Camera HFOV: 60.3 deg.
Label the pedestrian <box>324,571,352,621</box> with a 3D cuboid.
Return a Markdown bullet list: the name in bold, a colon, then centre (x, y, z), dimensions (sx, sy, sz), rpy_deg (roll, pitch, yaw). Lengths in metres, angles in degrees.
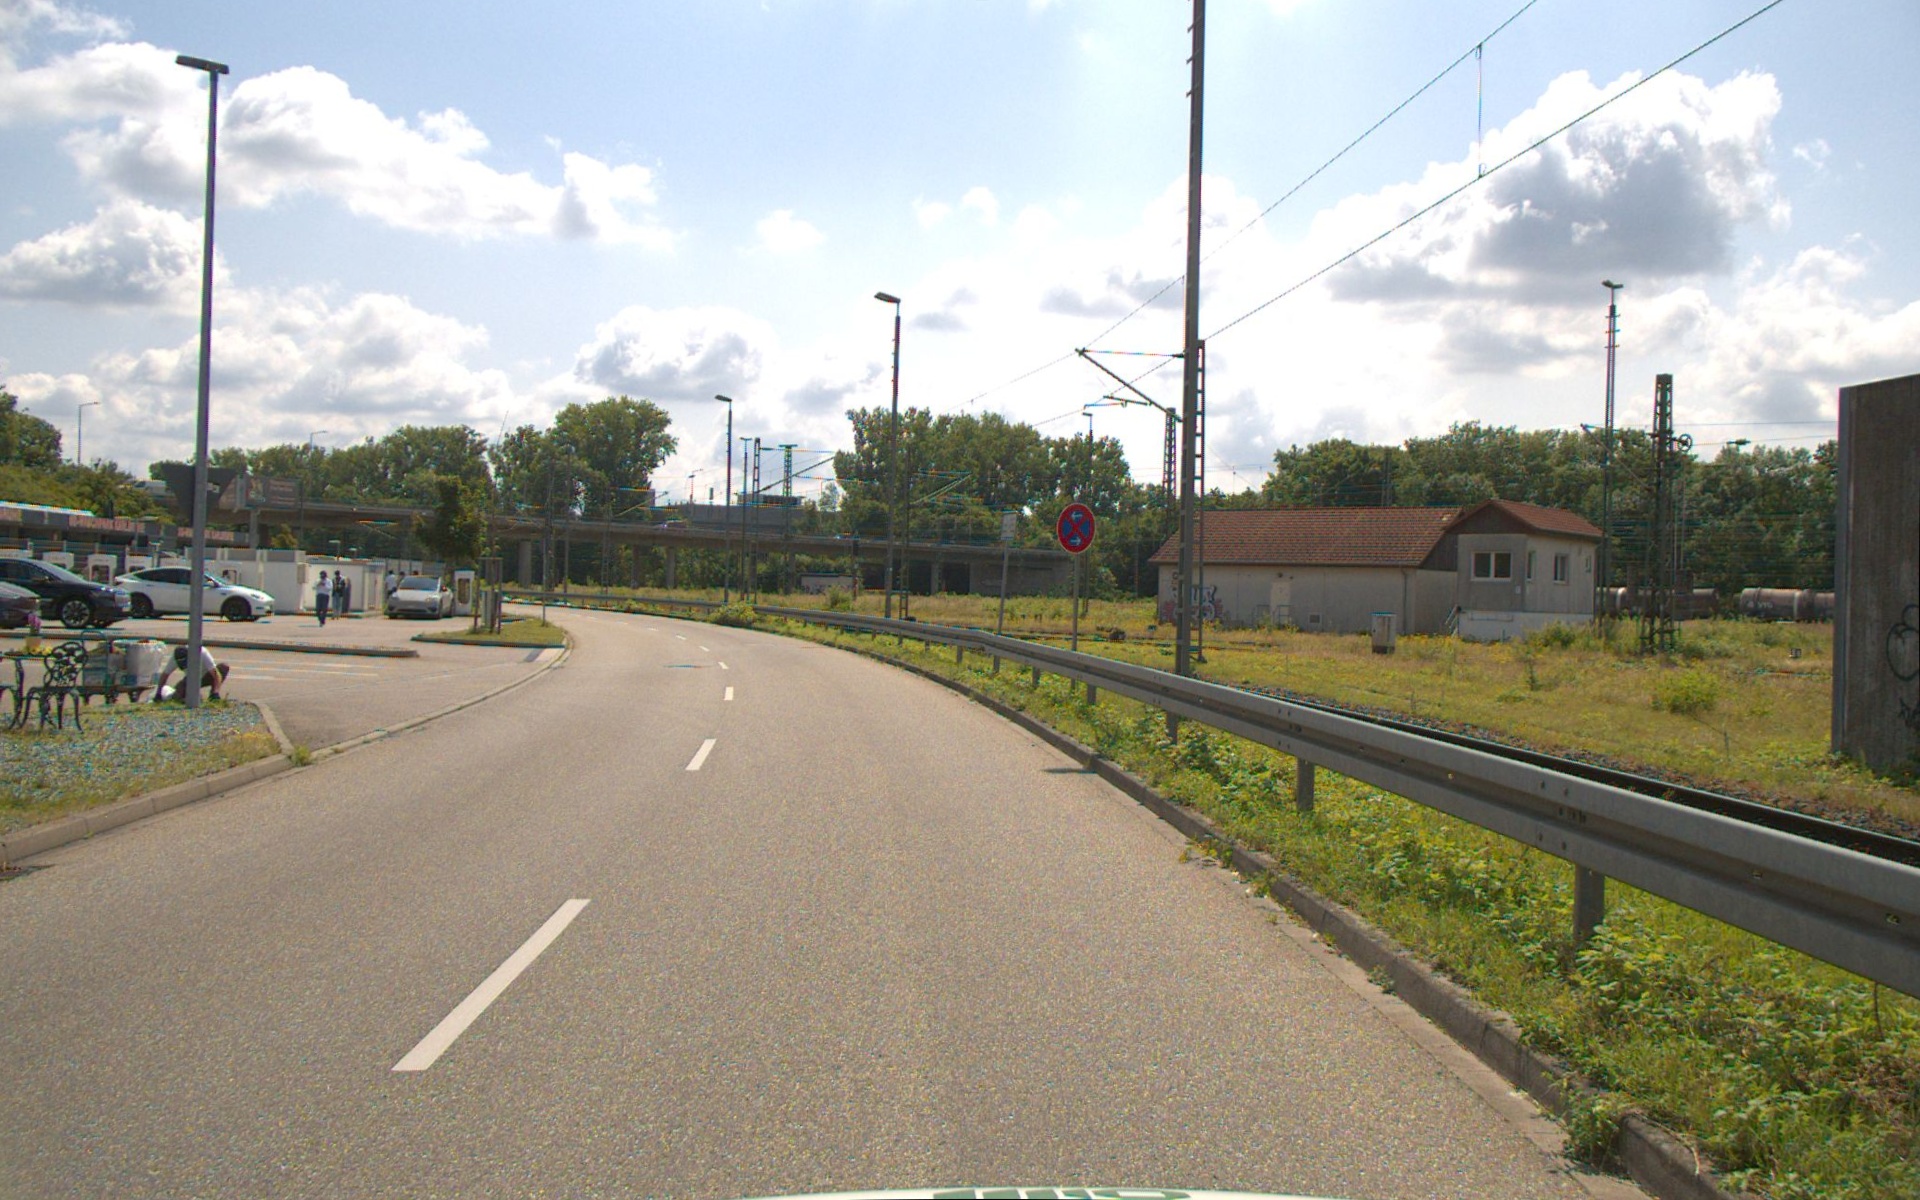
- **pedestrian**: centre (-22.507, -0.133, 59.857), dimensions (0.848, 1.782, 0.724), rpy_deg (2, 0, -17)

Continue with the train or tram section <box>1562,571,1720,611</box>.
- **train or tram section**: centre (64.838, -0.893, 157.795), dimensions (13.682, 3.362, 3.018), rpy_deg (2, 1, 40)

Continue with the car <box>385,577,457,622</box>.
- **car**: centre (-21.066, -0.065, 64.797), dimensions (1.895, 1.544, 4.766), rpy_deg (2, 2, -9)

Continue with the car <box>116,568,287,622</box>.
- **car**: centre (-23.612, -0.147, 51.640), dimensions (4.471, 1.551, 1.994), rpy_deg (2, 0, -12)

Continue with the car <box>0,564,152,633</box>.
- **car**: centre (-21.992, -0.048, 40.020), dimensions (3.915, 1.546, 1.995), rpy_deg (2, 0, -11)

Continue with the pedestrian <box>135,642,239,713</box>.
- **pedestrian**: centre (-9.249, 0.918, 19.823), dimensions (0.845, 0.773, 0.818), rpy_deg (2, 0, -1)

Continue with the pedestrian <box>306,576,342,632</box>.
- **pedestrian**: centre (-19.299, 0.127, 50.209), dimensions (0.847, 1.682, 0.938), rpy_deg (1, 0, -12)

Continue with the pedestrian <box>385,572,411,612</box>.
- **pedestrian**: centre (-22.965, -0.321, 67.605), dimensions (0.698, 1.607, 0.721), rpy_deg (0, 0, 28)

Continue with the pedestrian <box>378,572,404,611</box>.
- **pedestrian**: centre (-23.386, -0.360, 67.940), dimensions (0.744, 1.593, 0.711), rpy_deg (0, 0, 36)

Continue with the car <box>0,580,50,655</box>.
- **car**: centre (-21.497, 0.287, 33.689), dimensions (4.662, 1.481, 2.231), rpy_deg (2, 0, -12)
